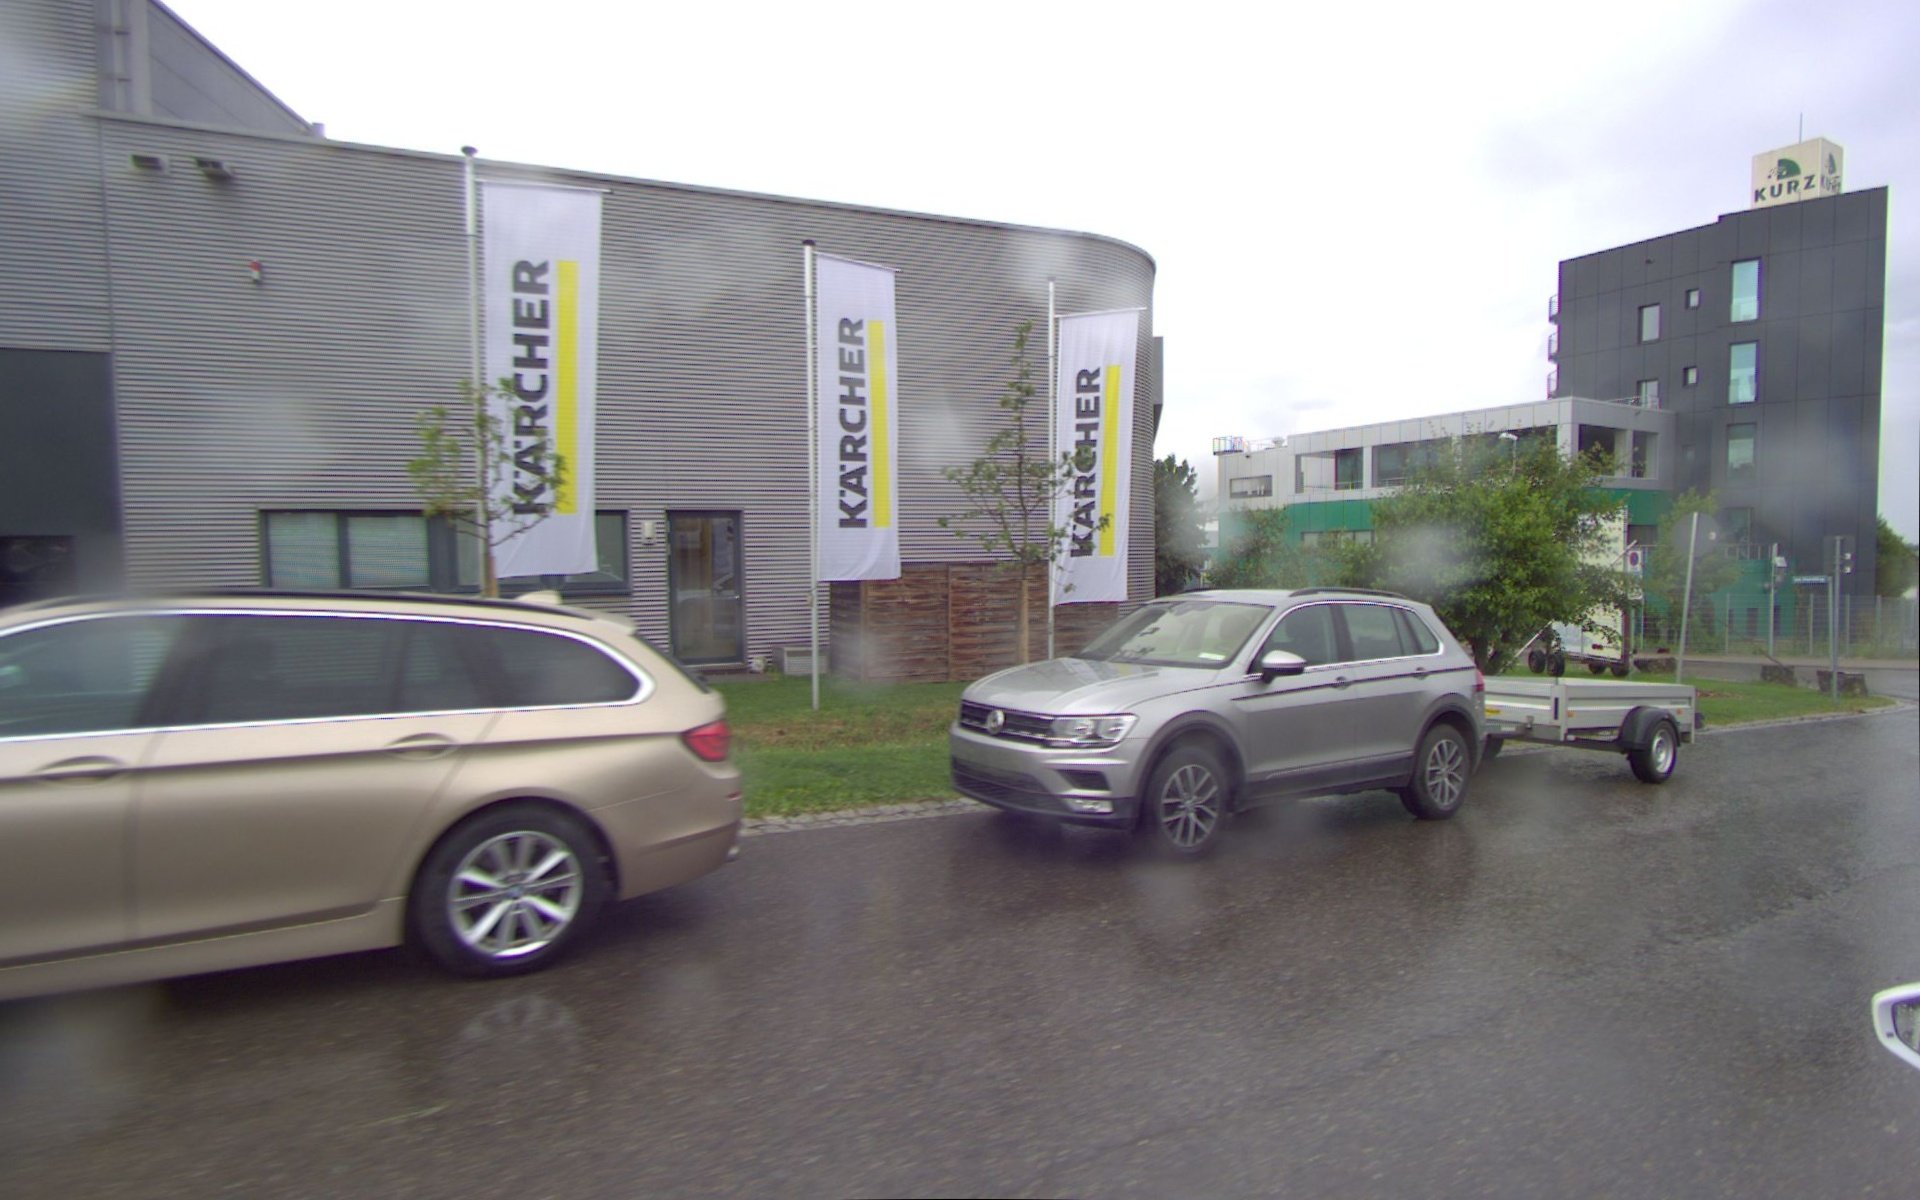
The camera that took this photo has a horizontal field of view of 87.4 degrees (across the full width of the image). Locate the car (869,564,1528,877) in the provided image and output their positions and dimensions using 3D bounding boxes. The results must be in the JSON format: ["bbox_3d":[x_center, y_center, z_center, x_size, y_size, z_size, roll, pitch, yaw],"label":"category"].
[{"bbox_3d":[1.917,0.692,7.303,4.791,1.597,1.945,2,-1,-34],"label":"car"}]

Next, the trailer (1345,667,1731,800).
[{"bbox_3d":[5.591,1.157,9.583,3.857,0.900,1.670,2,0,-34],"label":"trailer"}]

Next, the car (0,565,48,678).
[{"bbox_3d":[-15.970,0.386,15.009,1.904,1.796,4.205,-2,2,-19],"label":"car"}]

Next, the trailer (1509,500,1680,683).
[{"bbox_3d":[16.005,-0.188,25.631,1.965,4.259,4.189,1,0,6],"label":"trailer"}]

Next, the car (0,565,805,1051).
[{"bbox_3d":[-3.396,0.623,3.904,5.191,1.480,1.944,2,0,-33],"label":"car"}]
